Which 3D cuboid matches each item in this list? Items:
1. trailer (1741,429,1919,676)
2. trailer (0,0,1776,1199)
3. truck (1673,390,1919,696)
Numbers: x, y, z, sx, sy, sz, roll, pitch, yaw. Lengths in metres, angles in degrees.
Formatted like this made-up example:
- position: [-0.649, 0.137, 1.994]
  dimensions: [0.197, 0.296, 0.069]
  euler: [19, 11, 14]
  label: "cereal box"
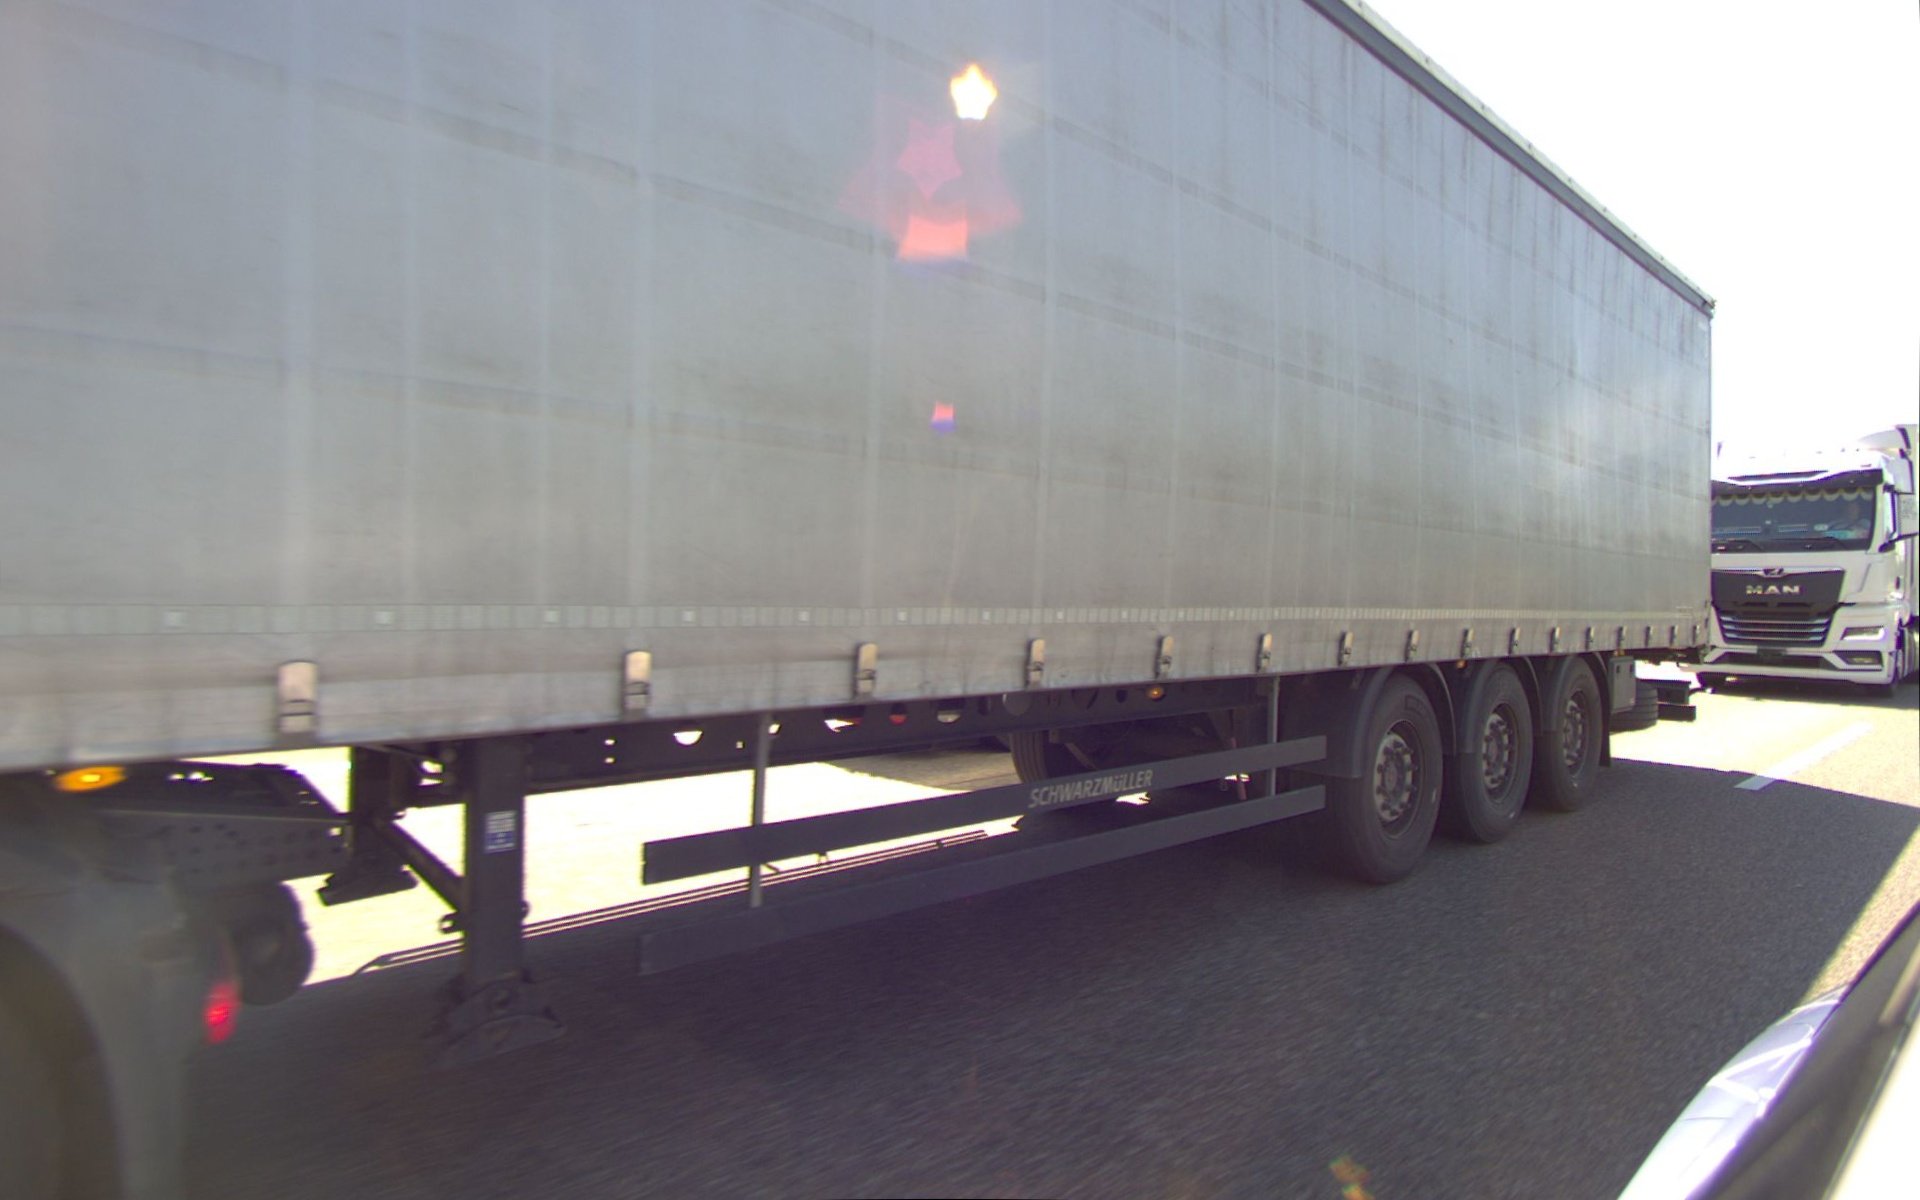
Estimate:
- position: [19.838, -0.846, 21.607]
  dimensions: [12.351, 4.086, 2.799]
  euler: [0, 1, -42]
  label: "trailer"
- position: [1.115, -0.834, 5.485]
  dimensions: [14.490, 4.119, 2.712]
  euler: [-1, 1, -41]
  label: "trailer"
- position: [14.038, -0.797, 16.386]
  dimensions: [5.917, 4.057, 2.804]
  euler: [0, 1, -42]
  label: "truck"
